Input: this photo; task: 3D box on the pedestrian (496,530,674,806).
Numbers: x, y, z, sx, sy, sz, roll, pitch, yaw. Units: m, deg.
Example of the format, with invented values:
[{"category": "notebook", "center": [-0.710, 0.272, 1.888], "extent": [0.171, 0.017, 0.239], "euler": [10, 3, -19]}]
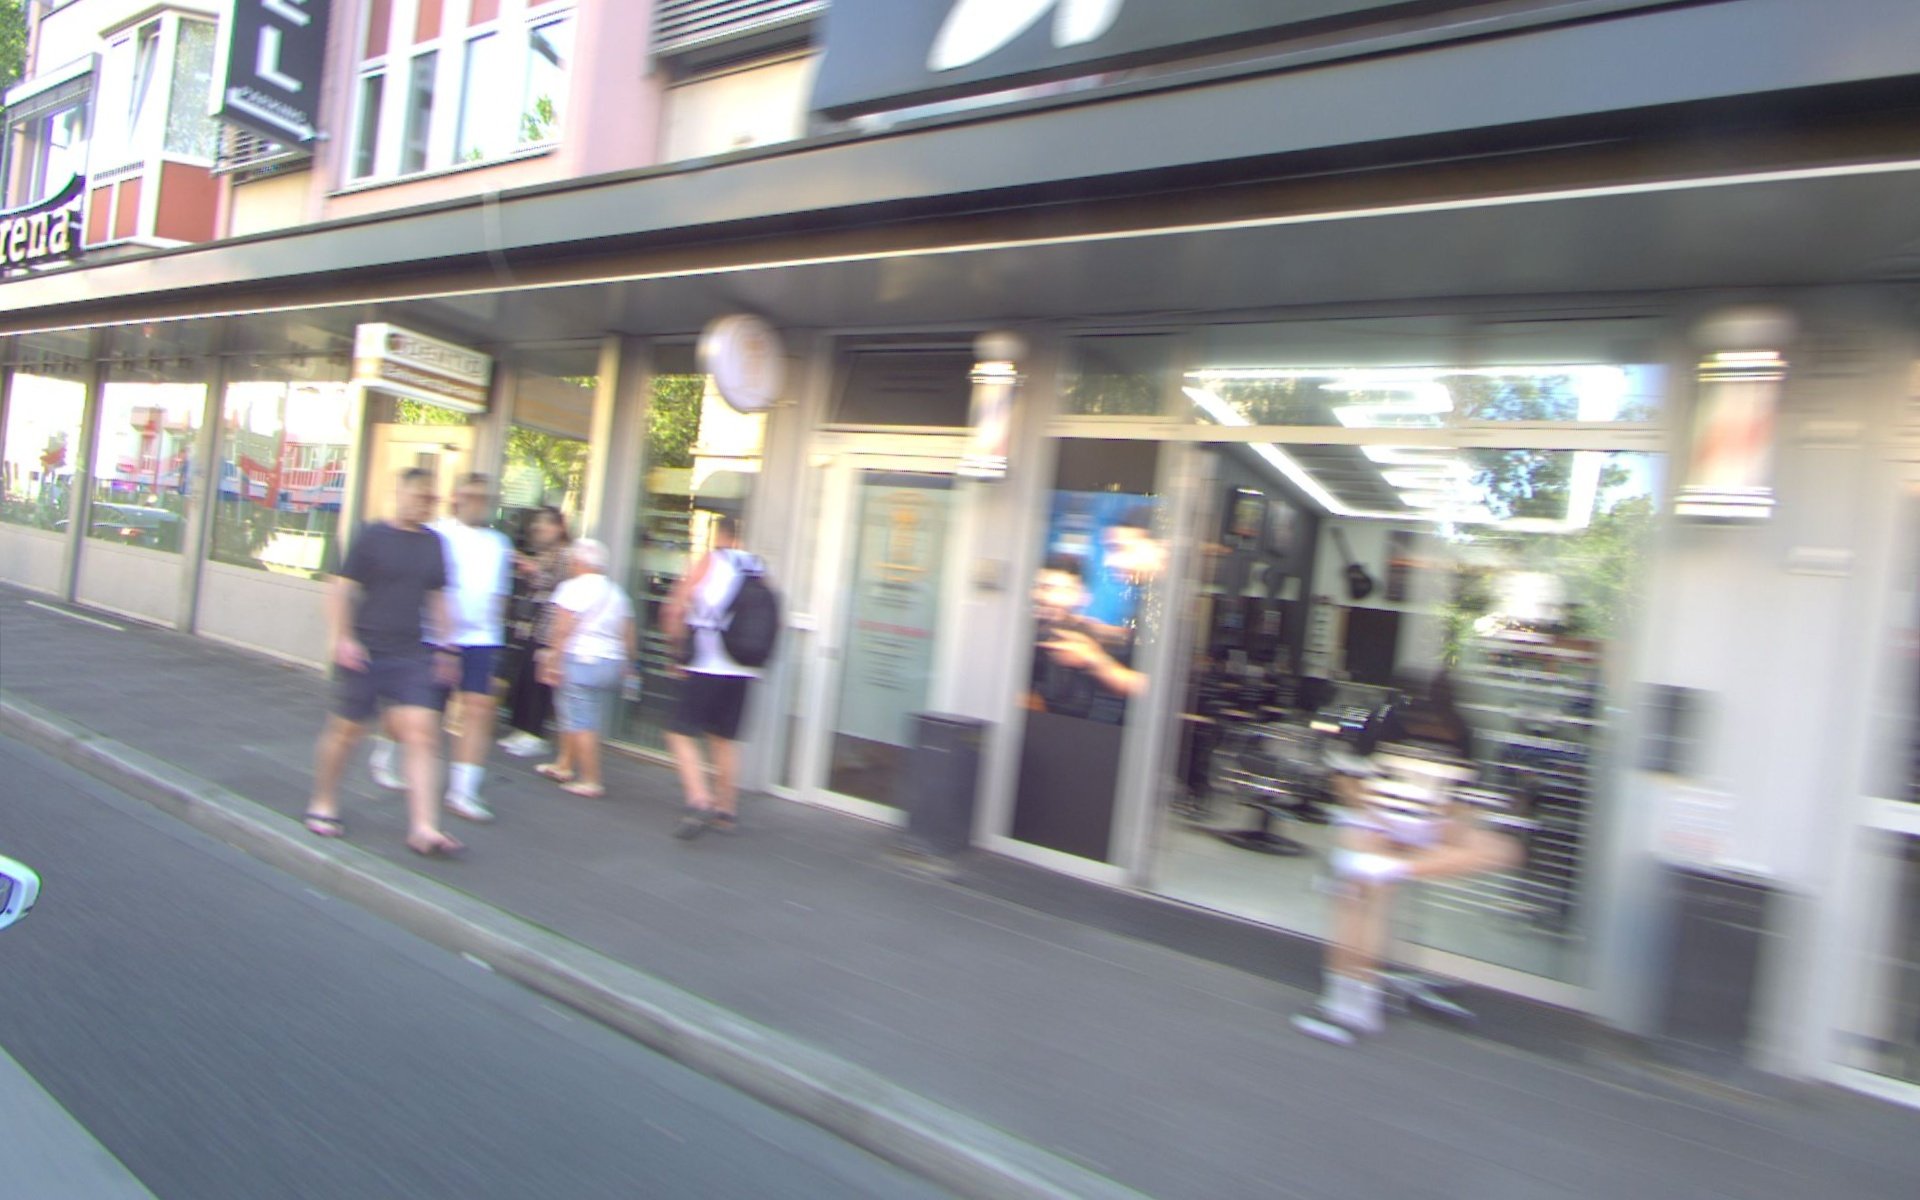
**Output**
[{"category": "pedestrian", "center": [-2.248, 0.383, 6.044], "extent": [0.643, 1.503, 0.636], "euler": [7, 3, 30]}]

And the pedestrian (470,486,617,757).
[{"category": "pedestrian", "center": [-2.929, 0.148, 7.093], "extent": [0.492, 1.792, 0.630], "euler": [8, 2, 31]}]

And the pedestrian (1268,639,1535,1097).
[{"category": "pedestrian", "center": [1.724, 0.934, 3.900], "extent": [0.695, 1.492, 0.738], "euler": [7, 3, 32]}]

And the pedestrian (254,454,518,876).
[{"category": "pedestrian", "center": [-2.665, 0.260, 4.682], "extent": [0.797, 1.752, 0.667], "euler": [7, 3, 31]}]

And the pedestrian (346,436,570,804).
[{"category": "pedestrian", "center": [-2.761, 0.089, 5.550], "extent": [0.750, 1.845, 0.706], "euler": [7, 3, 31]}]

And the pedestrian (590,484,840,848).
[{"category": "pedestrian", "center": [-1.304, 0.336, 5.409], "extent": [0.801, 1.747, 0.746], "euler": [7, -1, 32]}]

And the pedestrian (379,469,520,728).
[{"category": "pedestrian", "center": [-3.940, -0.019, 7.762], "extent": [0.798, 1.873, 0.451], "euler": [7, 2, 30]}]
